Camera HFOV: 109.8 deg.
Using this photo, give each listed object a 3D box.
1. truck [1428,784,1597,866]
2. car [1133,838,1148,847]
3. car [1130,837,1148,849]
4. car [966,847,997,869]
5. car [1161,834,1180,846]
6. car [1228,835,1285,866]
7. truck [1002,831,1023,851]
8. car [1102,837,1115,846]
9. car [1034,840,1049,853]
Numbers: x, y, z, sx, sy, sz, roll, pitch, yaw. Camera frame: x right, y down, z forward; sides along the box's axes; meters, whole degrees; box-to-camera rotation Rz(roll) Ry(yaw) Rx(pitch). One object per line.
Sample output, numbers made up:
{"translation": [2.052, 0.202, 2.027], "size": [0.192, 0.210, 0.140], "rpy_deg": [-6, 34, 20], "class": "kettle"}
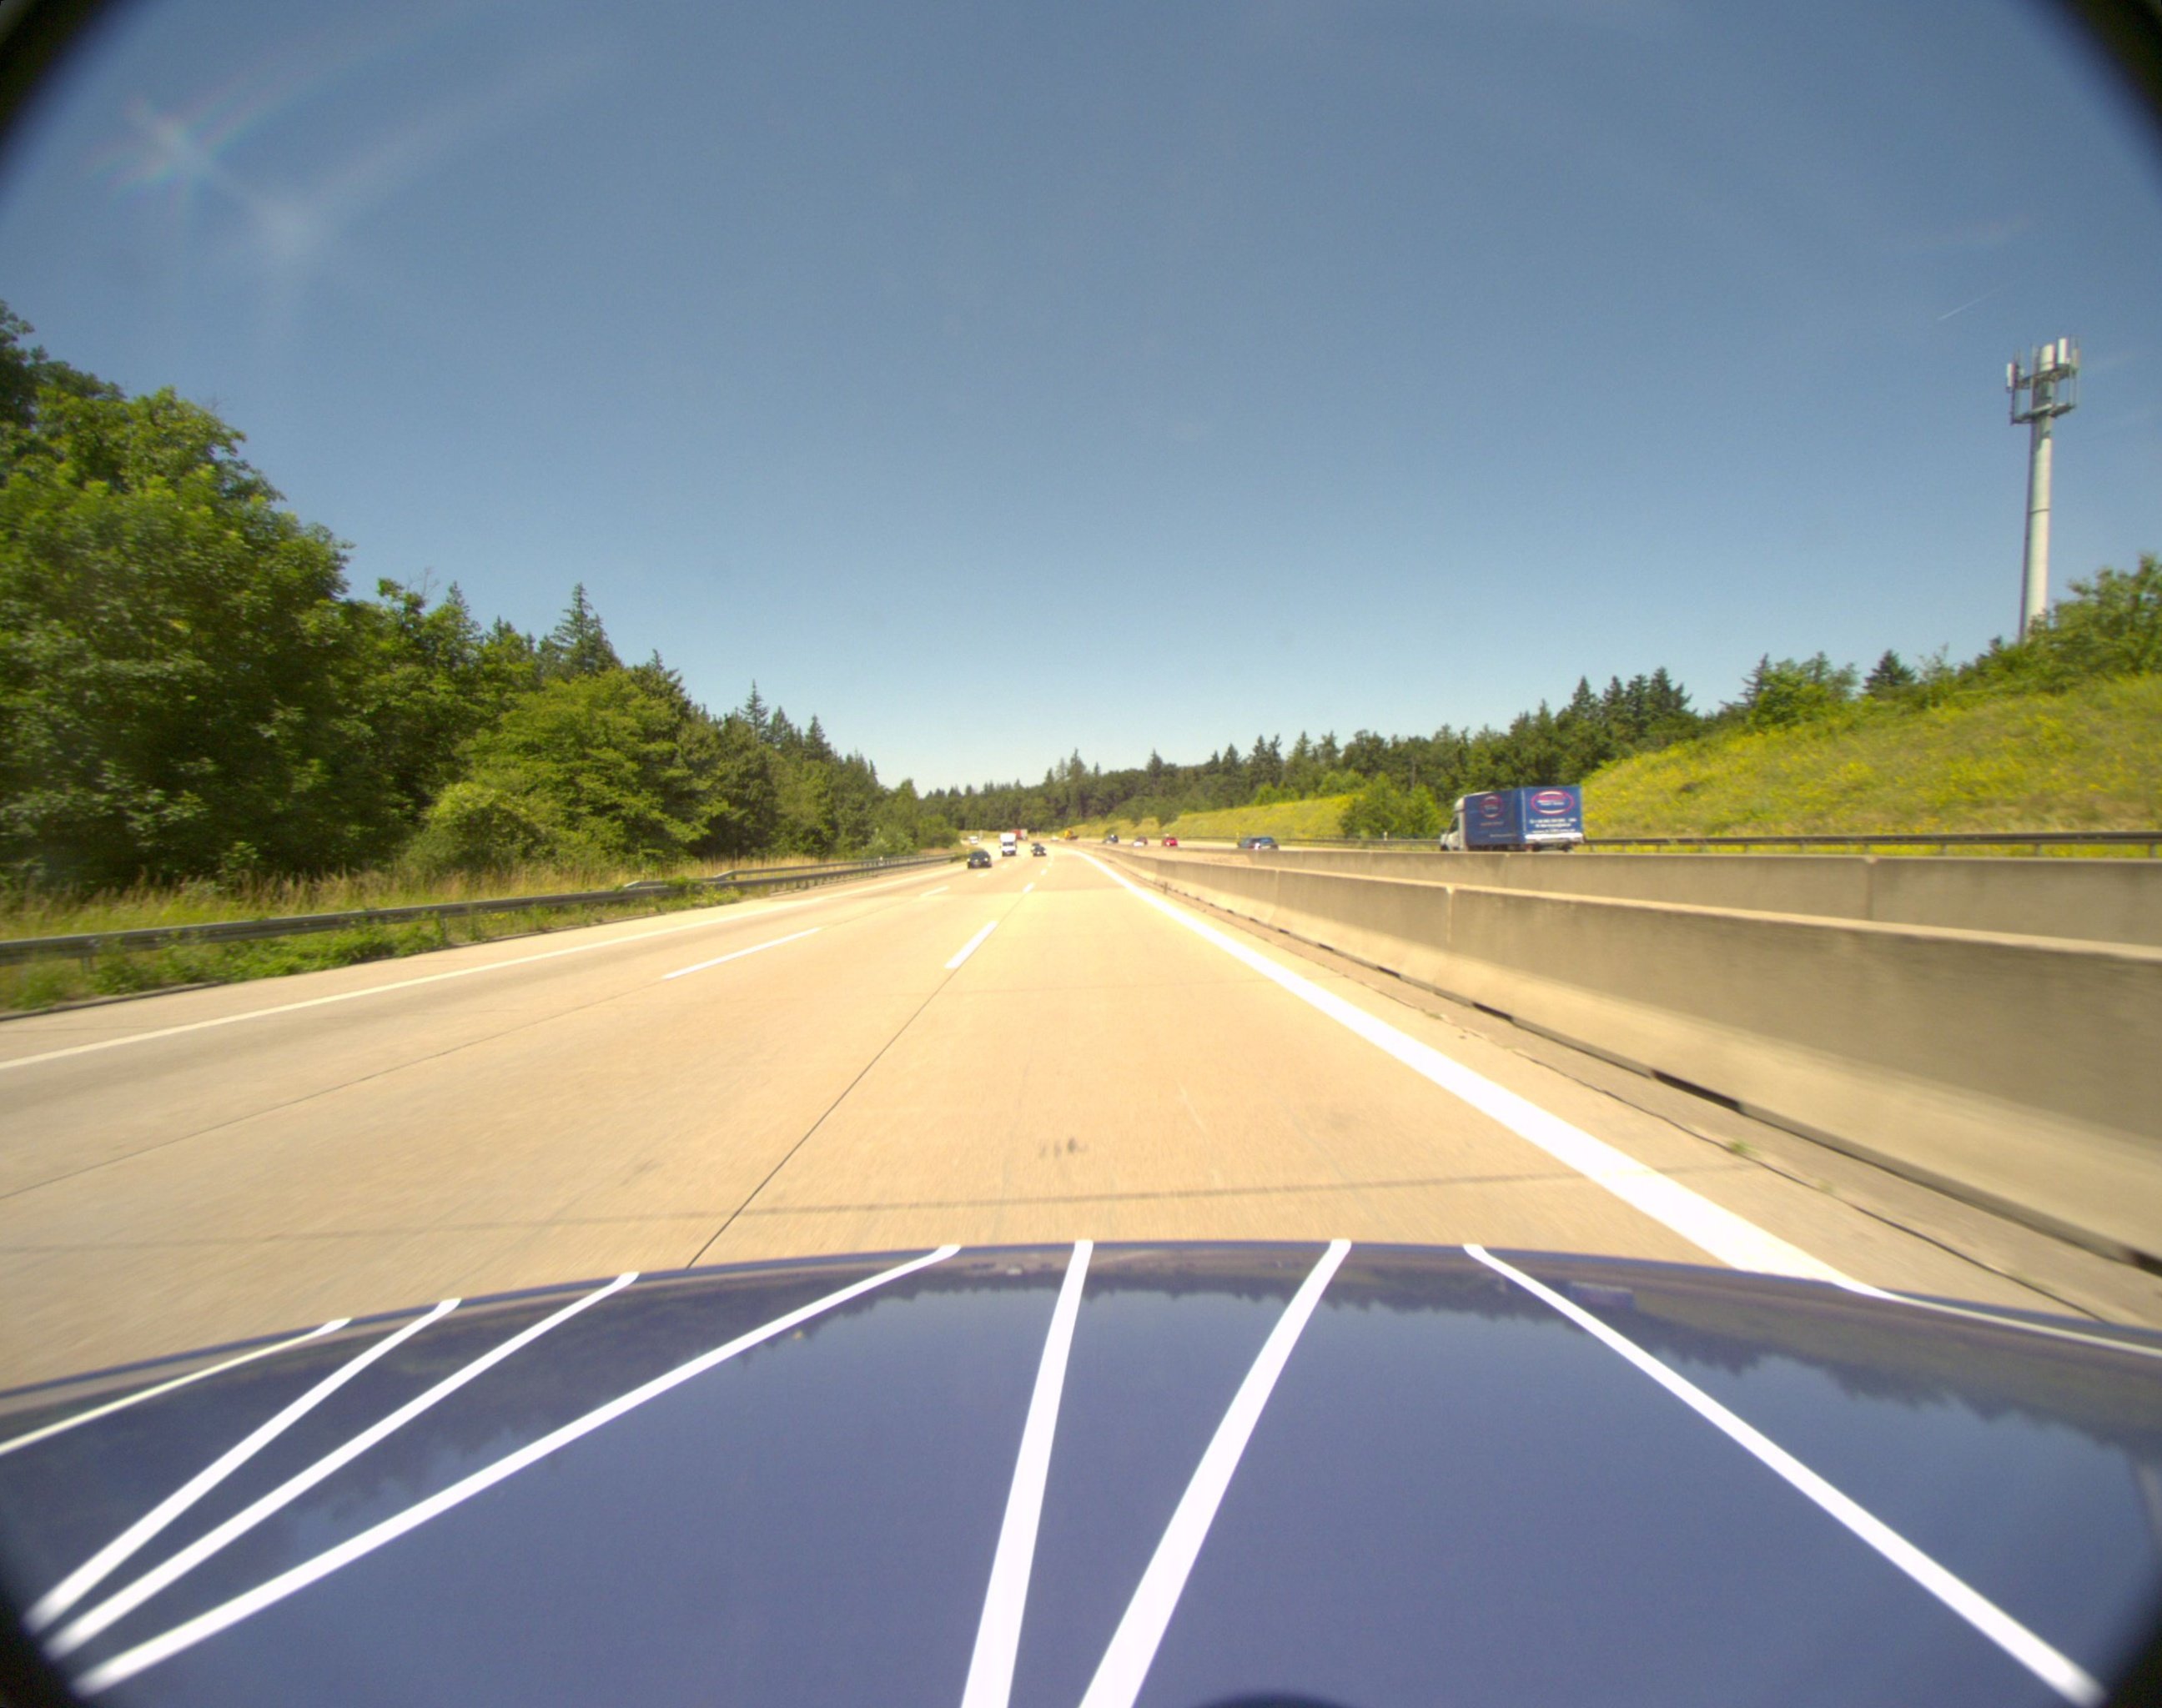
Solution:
{"translation": [18.120, -1.153, 32.656], "size": [2.568, 2.972, 7.833], "rpy_deg": [-3, 1, -1], "class": "truck"}
{"translation": [10.497, -2.010, 133.420], "size": [1.999, 1.595, 4.410], "rpy_deg": [-3, 1, -3], "class": "car"}
{"translation": [8.273, -1.531, 109.219], "size": [1.999, 1.595, 4.410], "rpy_deg": [-3, 1, -3], "class": "car"}
{"translation": [-8.356, 0.307, 64.395], "size": [1.931, 1.694, 4.399], "rpy_deg": [-3, 1, 0], "class": "car"}
{"translation": [12.665, -1.941, 108.004], "size": [1.999, 1.595, 4.410], "rpy_deg": [-3, 1, -3], "class": "car"}
{"translation": [10.126, -0.213, 44.195], "size": [1.999, 1.595, 4.657], "rpy_deg": [-3, 1, -3], "class": "car"}
{"translation": [-10.189, -1.980, 113.319], "size": [2.483, 2.779, 5.914], "rpy_deg": [-3, 1, 0], "class": "truck"}
{"translation": [5.265, -2.313, 143.898], "size": [1.999, 1.595, 4.410], "rpy_deg": [-3, 1, -3], "class": "car"}
{"translation": [-5.391, -0.997, 104.107], "size": [1.999, 1.694, 4.398], "rpy_deg": [-3, 1, -3], "class": "car"}
